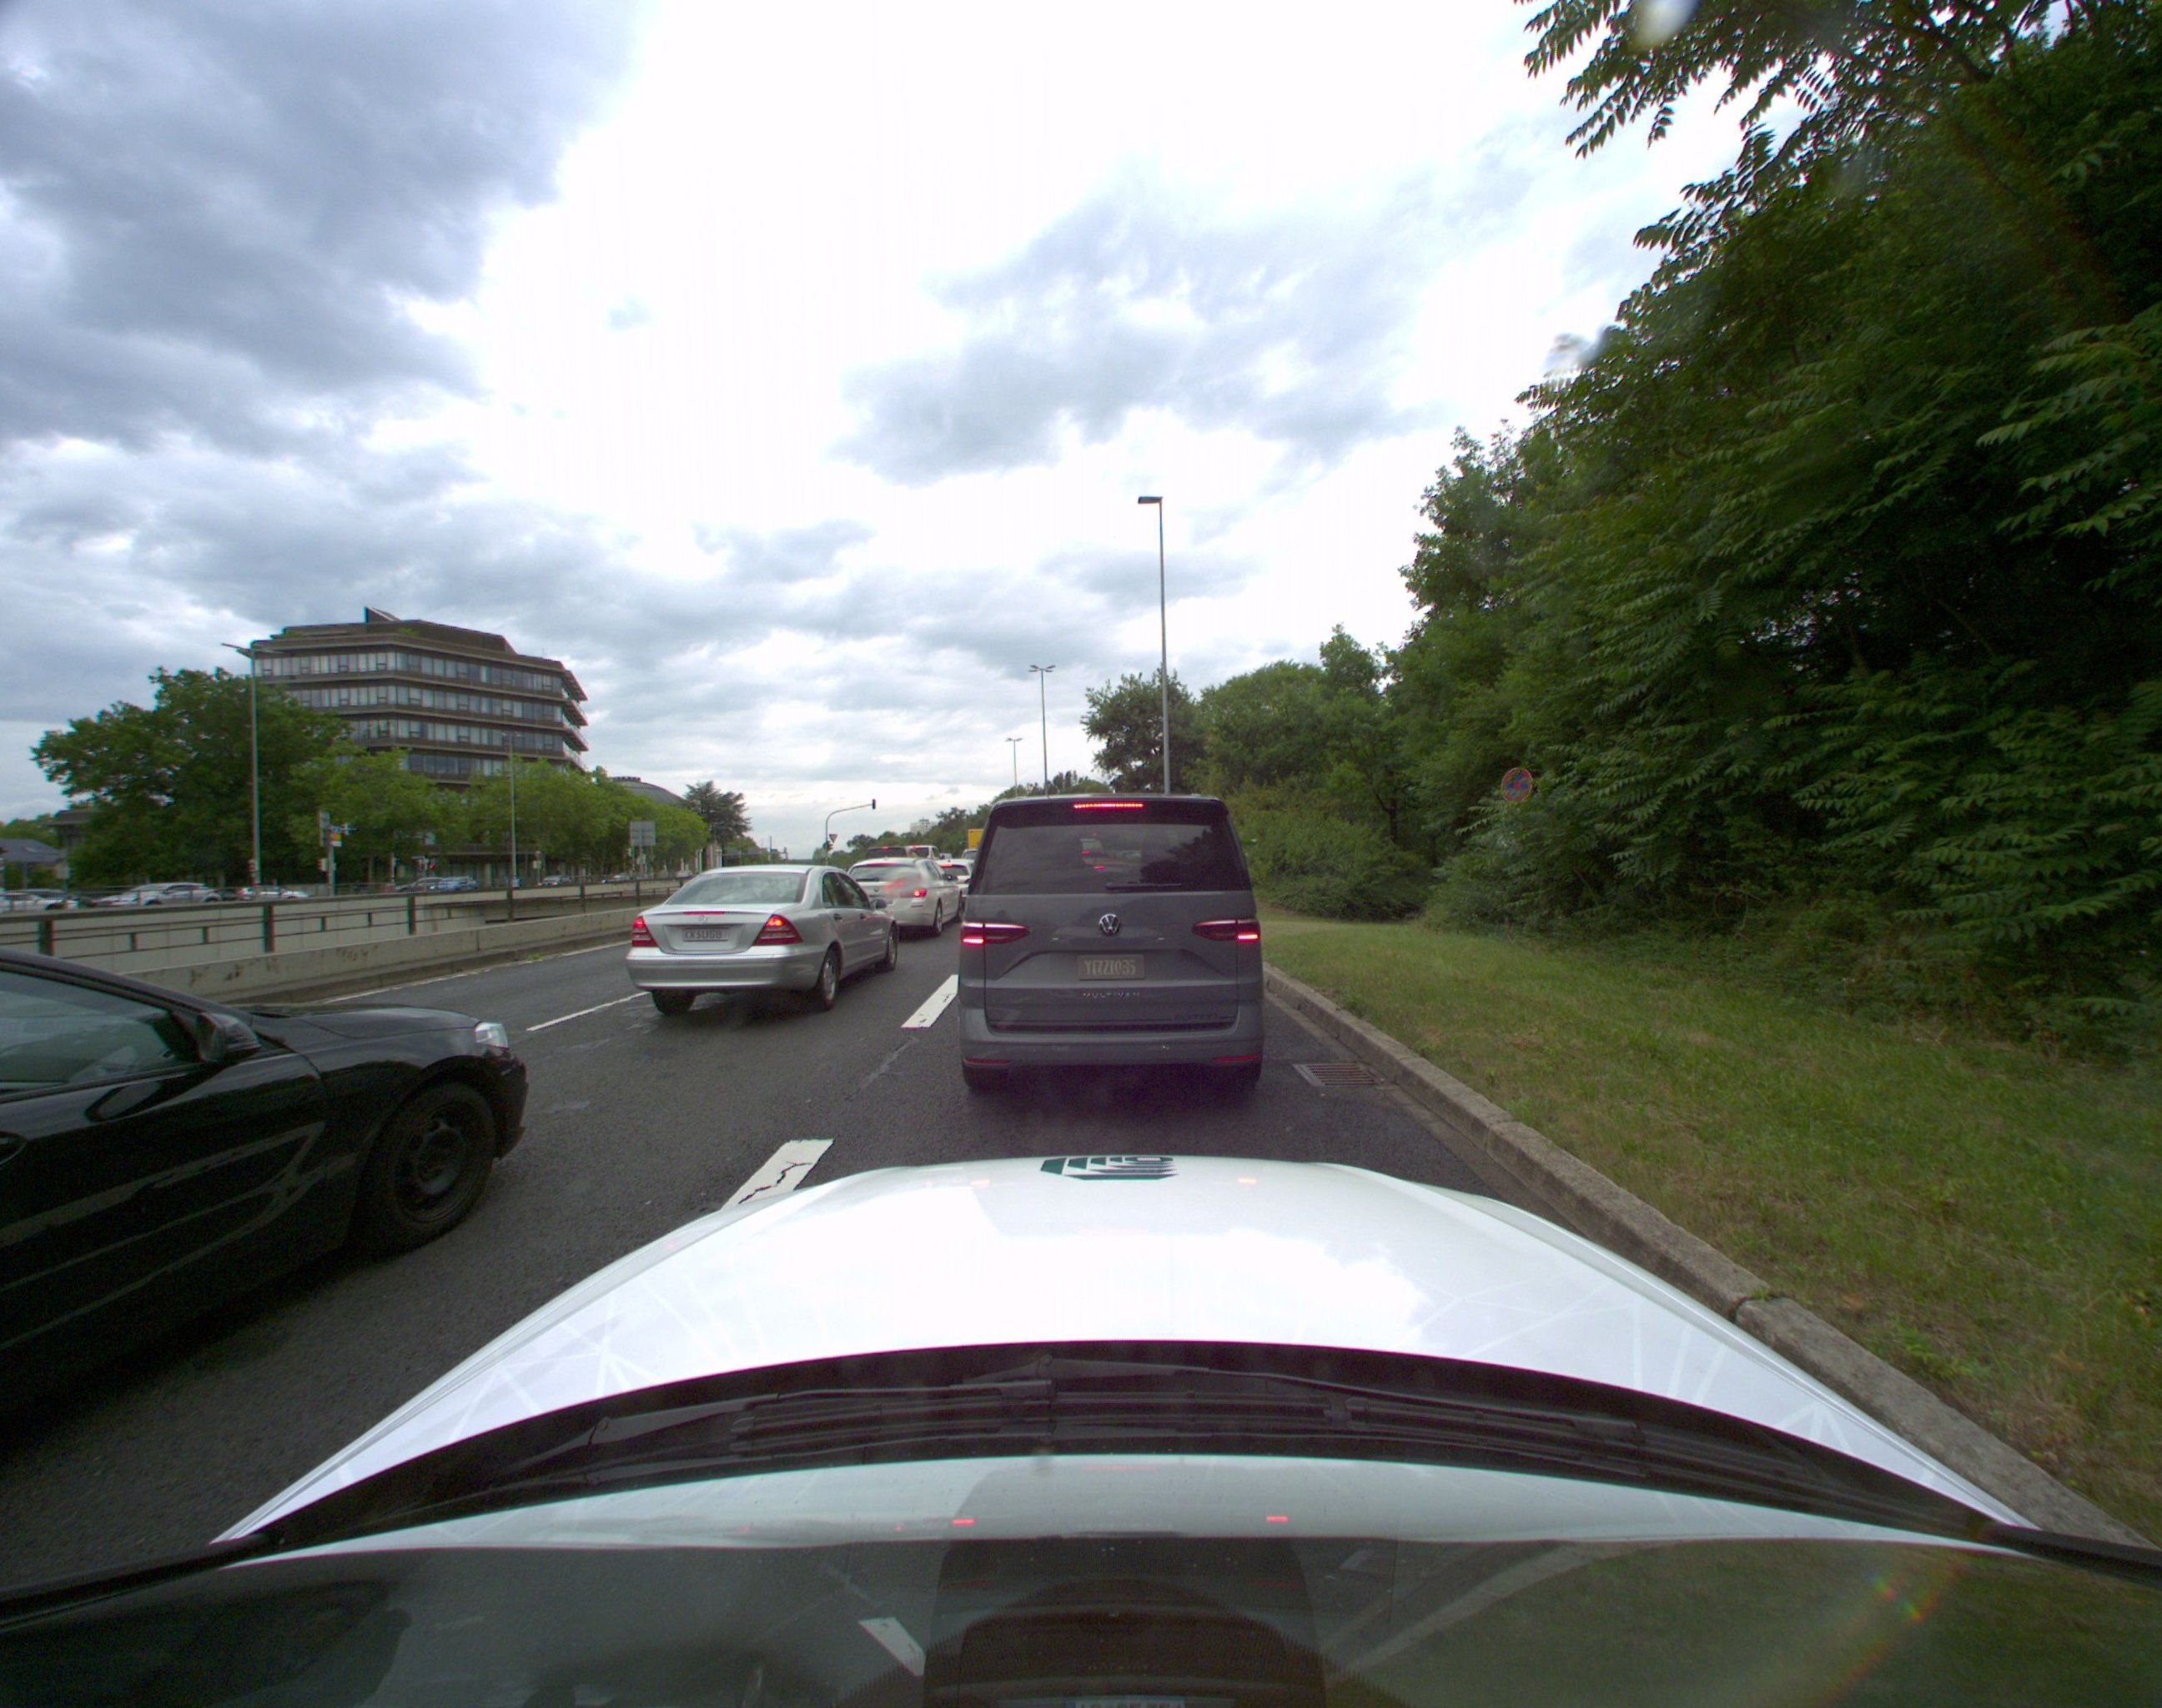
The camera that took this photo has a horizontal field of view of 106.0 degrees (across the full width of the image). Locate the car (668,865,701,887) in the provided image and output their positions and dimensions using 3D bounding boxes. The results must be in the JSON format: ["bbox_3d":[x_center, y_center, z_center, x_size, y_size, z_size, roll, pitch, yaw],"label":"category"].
[{"bbox_3d":[-48.814,2.641,100.271,2.336,2.460,5.206,-1,0,-12],"label":"car"}]

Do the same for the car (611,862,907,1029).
[{"bbox_3d":[-3.245,0.809,9.206,1.618,1.395,4.307,-1,0,0],"label":"car"}]

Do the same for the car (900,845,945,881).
[{"bbox_3d":[-8.049,0.439,41.702,1.620,1.701,4.292,-1,0,-3],"label":"car"}]

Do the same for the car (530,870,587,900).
[{"bbox_3d":[-48.073,2.837,75.074,2.333,2.460,5.214,-1,0,-7],"label":"car"}]

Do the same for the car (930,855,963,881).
[{"bbox_3d":[-8.926,0.907,54.357,1.620,1.701,4.292,-1,0,-3],"label":"car"}]

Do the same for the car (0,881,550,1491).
[{"bbox_3d":[-3.393,0.831,1.942,1.618,1.395,3.999,-1,0,0],"label":"car"}]

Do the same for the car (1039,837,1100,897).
[{"bbox_3d":[-0.394,0.414,27.697,1.879,1.879,4.428,-1,0,-1],"label":"car"}]

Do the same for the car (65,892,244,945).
[{"bbox_3d":[-41.951,2.854,37.140,2.331,1.949,5.218,-1,0,-5],"label":"car"}]

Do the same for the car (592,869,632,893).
[{"bbox_3d":[-52.622,2.966,91.524,2.336,2.460,5.206,-1,0,-12],"label":"car"}]

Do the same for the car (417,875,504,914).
[{"bbox_3d":[-44.375,2.815,58.422,2.329,2.460,5.222,-1,0,-2],"label":"car"}]

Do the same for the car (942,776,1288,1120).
[{"bbox_3d":[0.265,0.530,6.713,1.891,1.884,4.417,-1,0,2],"label":"car"}]

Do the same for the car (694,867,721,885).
[{"bbox_3d":[-53.853,3.118,117.612,2.336,2.460,5.206,-1,0,-12],"label":"car"}]

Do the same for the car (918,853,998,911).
[{"bbox_3d":[-3.427,0.727,23.367,1.618,1.494,4.295,-1,0,0],"label":"car"}]

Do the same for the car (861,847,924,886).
[{"bbox_3d":[-7.734,0.478,33.790,1.618,1.494,4.295,-1,0,0],"label":"car"}]

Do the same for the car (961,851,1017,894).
[{"bbox_3d":[-3.379,0.647,30.531,1.618,1.494,4.295,-1,0,0],"label":"car"}]

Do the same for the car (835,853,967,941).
[{"bbox_3d":[-3.436,0.753,16.339,1.618,1.494,4.546,-1,0,0],"label":"car"}]

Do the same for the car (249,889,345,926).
[{"bbox_3d":[-61.340,4.150,63.899,5.255,2.460,2.315,-2,0,-41],"label":"car"}]

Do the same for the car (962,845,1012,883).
[{"bbox_3d":[-4.370,0.451,38.435,1.879,1.700,4.428,-1,0,-1],"label":"car"}]

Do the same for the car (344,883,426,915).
[{"bbox_3d":[-62.402,3.990,73.127,2.312,2.460,5.260,-1,0,39],"label":"car"}]
